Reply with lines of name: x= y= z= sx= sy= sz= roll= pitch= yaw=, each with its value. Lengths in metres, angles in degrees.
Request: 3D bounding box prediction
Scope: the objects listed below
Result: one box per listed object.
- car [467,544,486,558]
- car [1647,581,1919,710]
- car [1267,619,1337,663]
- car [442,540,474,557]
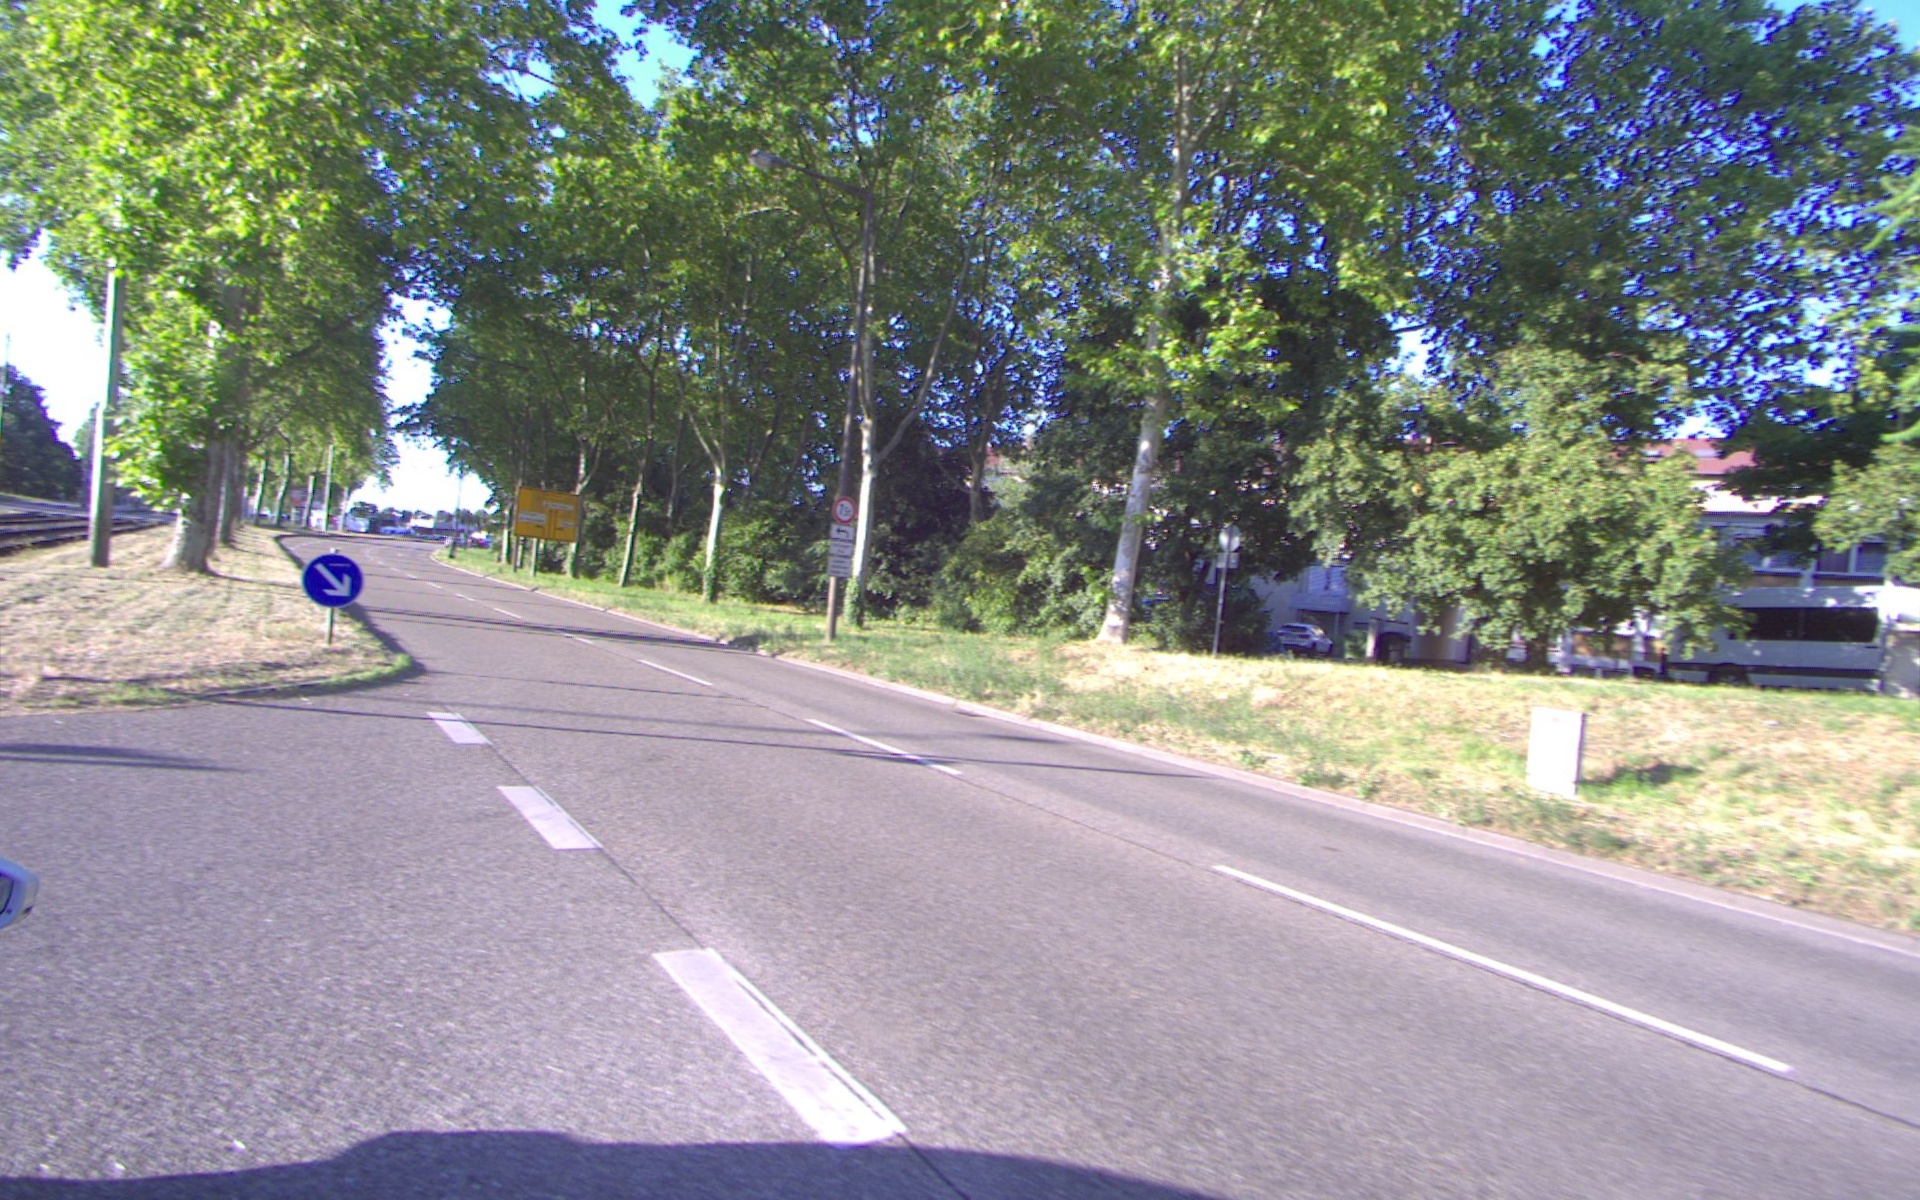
car: x=-60.335 y=-6.134 z=125.547 sx=1.976 sy=1.457 sz=3.973 roll=7 pitch=0 yaw=-27
car: x=19.776 y=1.001 z=23.623 sx=1.787 sy=2.544 sz=5.583 roll=6 pitch=0 yaw=-31
car: x=16.695 y=2.022 z=48.996 sx=1.889 sy=1.726 sz=3.986 roll=6 pitch=-1 yaw=37
car: x=-57.444 y=-5.870 z=115.209 sx=1.965 sy=1.460 sz=3.995 roll=7 pitch=0 yaw=-7
